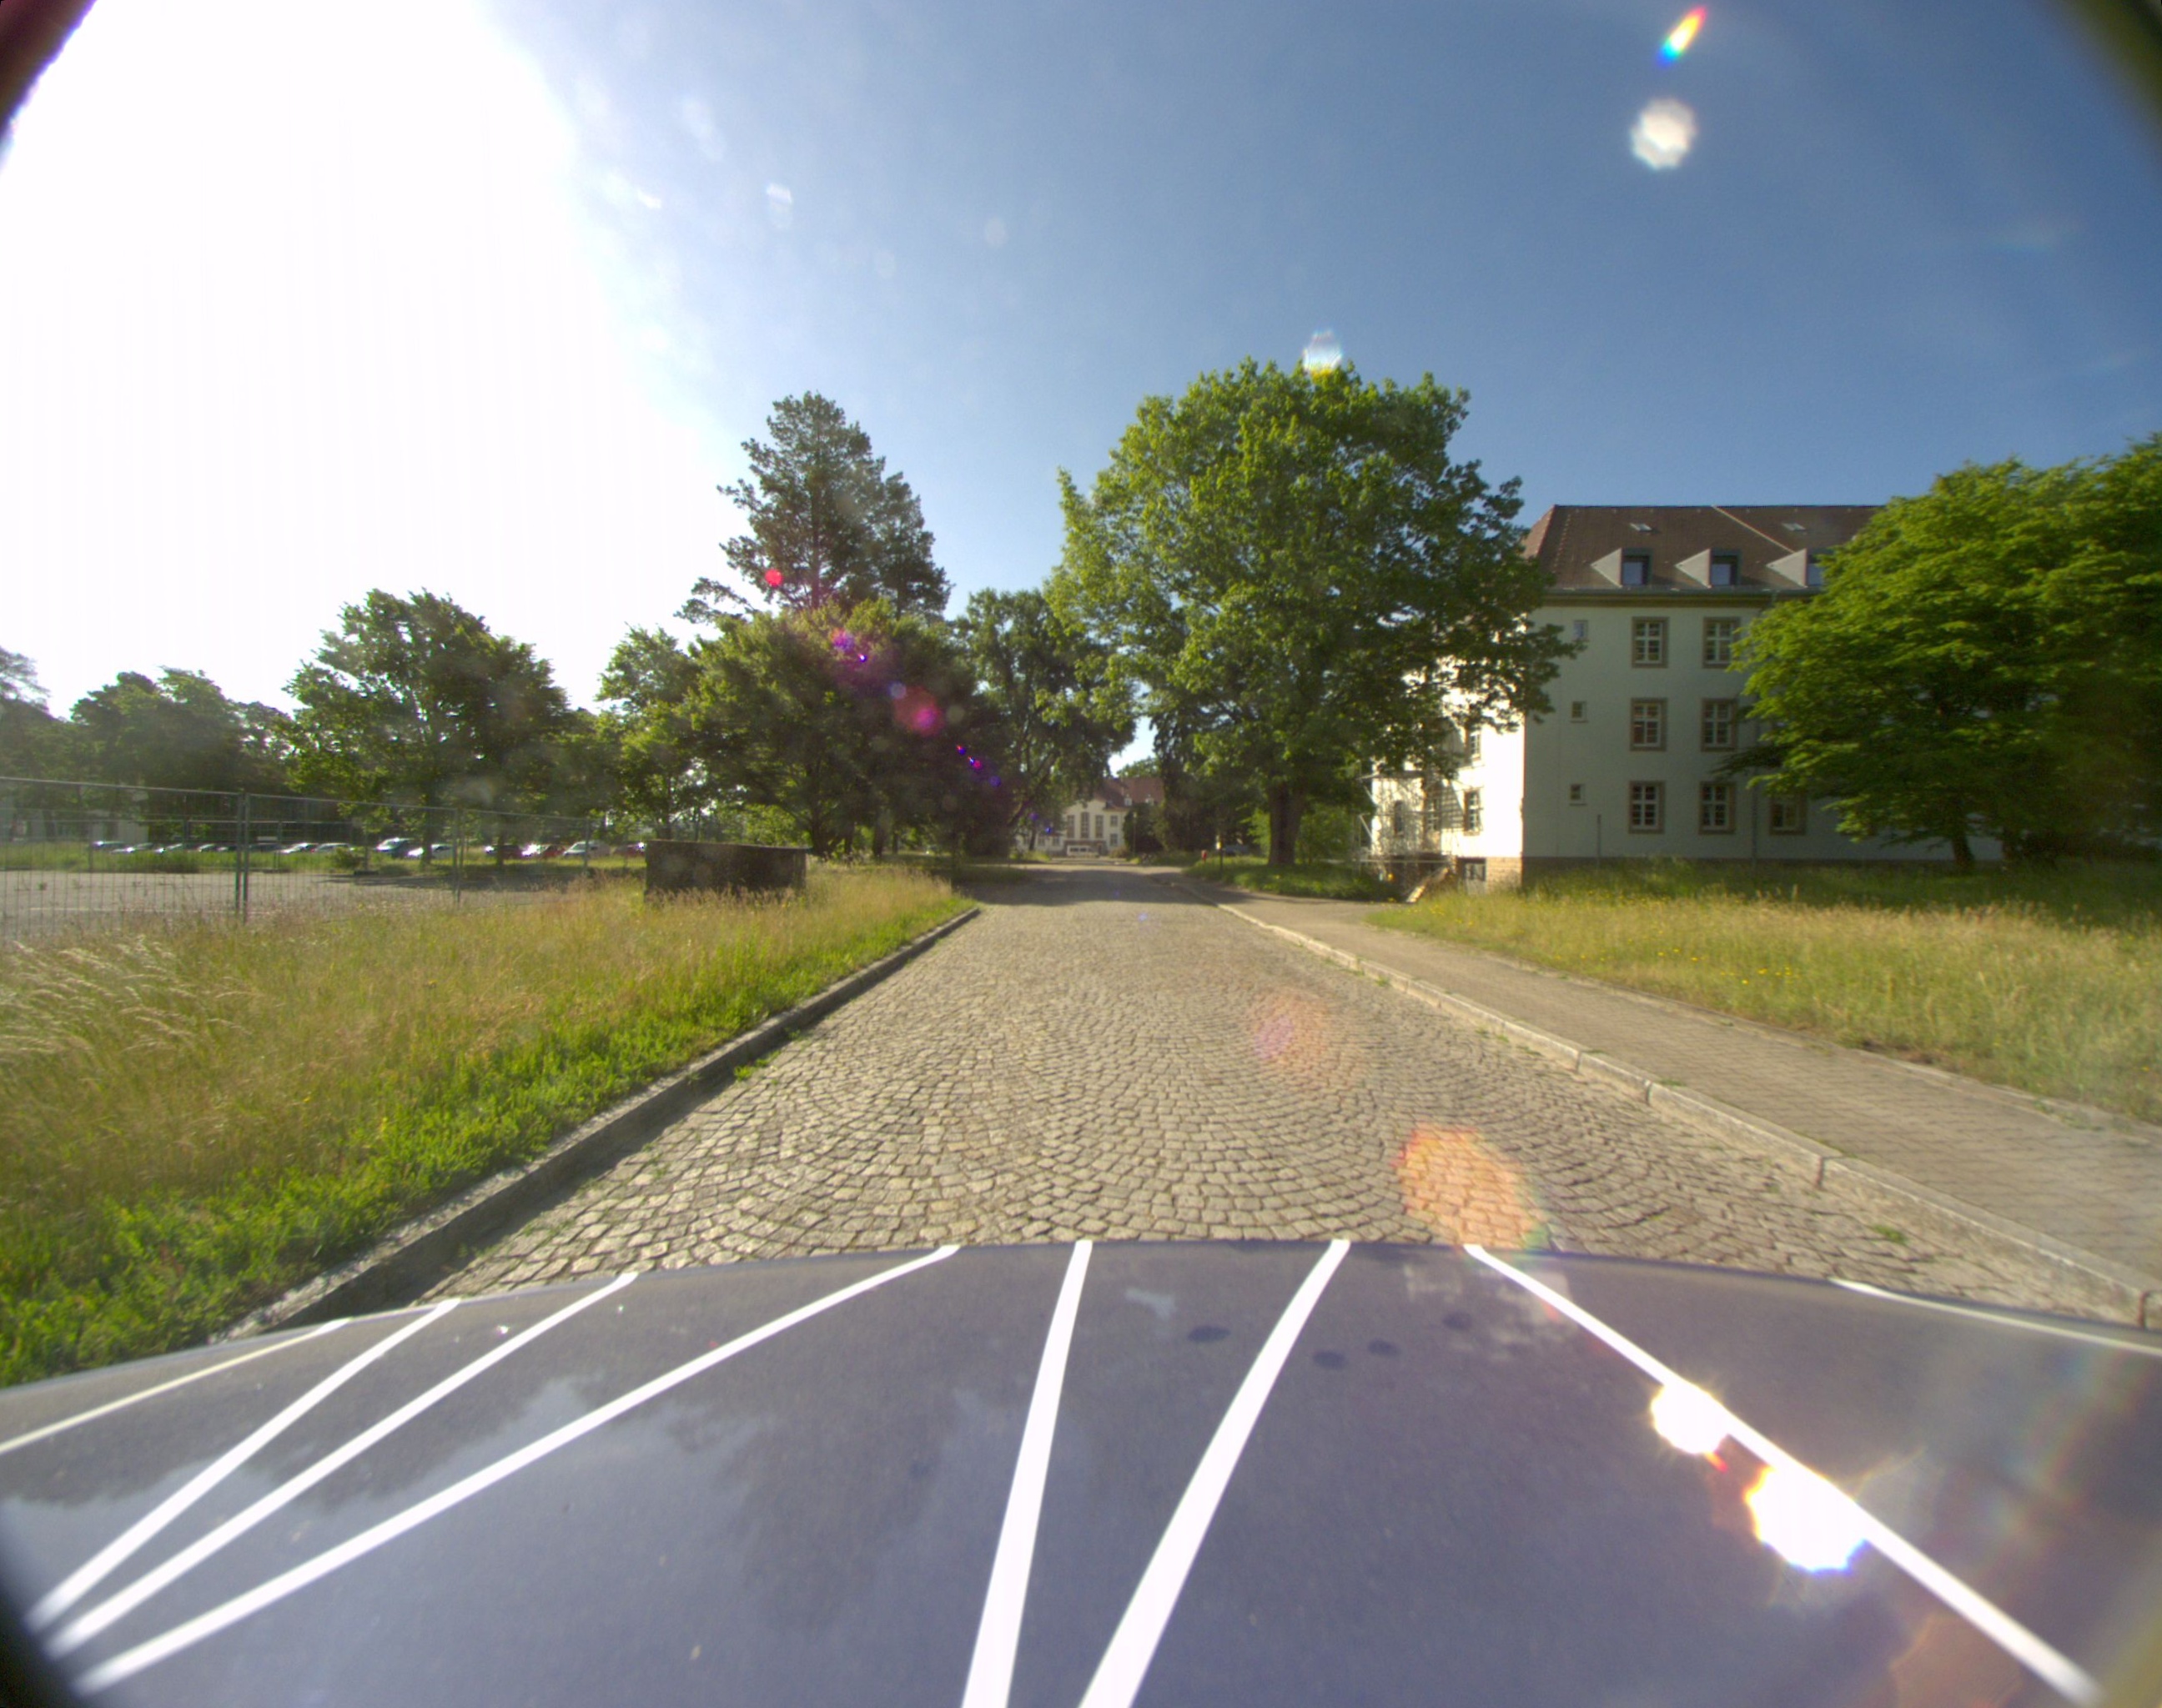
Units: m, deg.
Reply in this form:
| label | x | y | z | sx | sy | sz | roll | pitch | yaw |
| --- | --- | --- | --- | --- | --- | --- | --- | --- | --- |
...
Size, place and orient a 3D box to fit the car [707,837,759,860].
| label | x | y | z | sx | sy | sz | roll | pitch | yaw |
| --- | --- | --- | --- | --- | --- | --- | --- | --- | --- |
| car | -29.552 | -0.506 | 64.662 | 2.245 | 1.828 | 4.350 | 1 | 1 | 4 |

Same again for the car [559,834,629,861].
| label | x | y | z | sx | sy | sz | roll | pitch | yaw |
| --- | --- | --- | --- | --- | --- | --- | --- | --- | --- |
| car | -41.365 | -0.613 | 64.742 | 1.998 | 2.003 | 6.032 | -1 | 2 | 1 |

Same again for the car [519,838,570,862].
| label | x | y | z | sx | sy | sz | roll | pitch | yaw |
| --- | --- | --- | --- | --- | --- | --- | --- | --- | --- |
| car | -45.136 | -0.343 | 63.987 | 1.742 | 2.002 | 3.619 | 1 | 1 | -1 |

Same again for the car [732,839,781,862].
| label | x | y | z | sx | sy | sz | roll | pitch | yaw |
| --- | --- | --- | --- | --- | --- | --- | --- | --- | --- |
| car | -27.191 | -0.339 | 63.848 | 2.245 | 1.828 | 4.348 | 1 | 1 | 1 |

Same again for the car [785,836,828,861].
| label | x | y | z | sx | sy | sz | roll | pitch | yaw |
| --- | --- | --- | --- | --- | --- | --- | --- | --- | --- |
| car | -22.915 | -0.500 | 63.586 | 2.246 | 2.002 | 4.347 | 1 | 1 | -3 |

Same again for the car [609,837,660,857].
| label | x | y | z | sx | sy | sz | roll | pitch | yaw |
| --- | --- | --- | --- | --- | --- | --- | --- | --- | --- |
| car | -37.585 | -0.592 | 64.045 | 1.999 | 1.642 | 3.999 | 1 | 1 | -1 |

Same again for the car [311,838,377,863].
| label | x | y | z | sx | sy | sz | roll | pitch | yaw |
| --- | --- | --- | --- | --- | --- | --- | --- | --- | --- |
| car | -61.921 | -0.300 | 63.902 | 1.741 | 2.002 | 3.851 | 1 | 1 | 2 |

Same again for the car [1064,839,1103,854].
| label | x | y | z | sx | sy | sz | roll | pitch | yaw |
| --- | --- | --- | --- | --- | --- | --- | --- | --- | --- |
| car | 0.503 | -1.254 | 127.303 | 6.445 | 2.452 | 2.463 | 1 | 1 | 1 |

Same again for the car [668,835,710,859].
| label | x | y | z | sx | sy | sz | roll | pitch | yaw |
| --- | --- | --- | --- | --- | --- | --- | --- | --- | --- |
| car | -33.466 | -0.611 | 64.939 | 1.742 | 2.002 | 3.619 | 1 | 1 | -1 |

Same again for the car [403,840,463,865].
| label | x | y | z | sx | sy | sz | roll | pitch | yaw |
| --- | --- | --- | --- | --- | --- | --- | --- | --- | --- |
| car | -54.150 | -0.147 | 63.602 | 1.742 | 2.002 | 3.850 | 1 | 1 | -1 |

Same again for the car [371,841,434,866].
| label | x | y | z | sx | sy | sz | roll | pitch | yaw |
| --- | --- | --- | --- | --- | --- | --- | --- | --- | --- |
| car | -56.607 | -0.093 | 63.472 | 1.741 | 2.002 | 3.851 | 1 | 1 | 2 |

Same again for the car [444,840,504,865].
| label | x | y | z | sx | sy | sz | roll | pitch | yaw |
| --- | --- | --- | --- | --- | --- | --- | --- | --- | --- |
| car | -51.865 | -0.148 | 65.012 | 1.999 | 2.002 | 3.999 | 0 | 1 | -2 |

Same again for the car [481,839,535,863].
| label | x | y | z | sx | sy | sz | roll | pitch | yaw |
| --- | --- | --- | --- | --- | --- | --- | --- | --- | --- |
| car | -47.941 | -0.274 | 63.659 | 1.742 | 2.002 | 3.619 | 1 | 1 | -1 |

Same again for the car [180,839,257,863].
| label | x | y | z | sx | sy | sz | roll | pitch | yaw |
| --- | --- | --- | --- | --- | --- | --- | --- | --- | --- |
| car | -72.962 | -0.260 | 64.368 | 1.999 | 2.002 | 3.999 | 0 | 1 | -1 |
